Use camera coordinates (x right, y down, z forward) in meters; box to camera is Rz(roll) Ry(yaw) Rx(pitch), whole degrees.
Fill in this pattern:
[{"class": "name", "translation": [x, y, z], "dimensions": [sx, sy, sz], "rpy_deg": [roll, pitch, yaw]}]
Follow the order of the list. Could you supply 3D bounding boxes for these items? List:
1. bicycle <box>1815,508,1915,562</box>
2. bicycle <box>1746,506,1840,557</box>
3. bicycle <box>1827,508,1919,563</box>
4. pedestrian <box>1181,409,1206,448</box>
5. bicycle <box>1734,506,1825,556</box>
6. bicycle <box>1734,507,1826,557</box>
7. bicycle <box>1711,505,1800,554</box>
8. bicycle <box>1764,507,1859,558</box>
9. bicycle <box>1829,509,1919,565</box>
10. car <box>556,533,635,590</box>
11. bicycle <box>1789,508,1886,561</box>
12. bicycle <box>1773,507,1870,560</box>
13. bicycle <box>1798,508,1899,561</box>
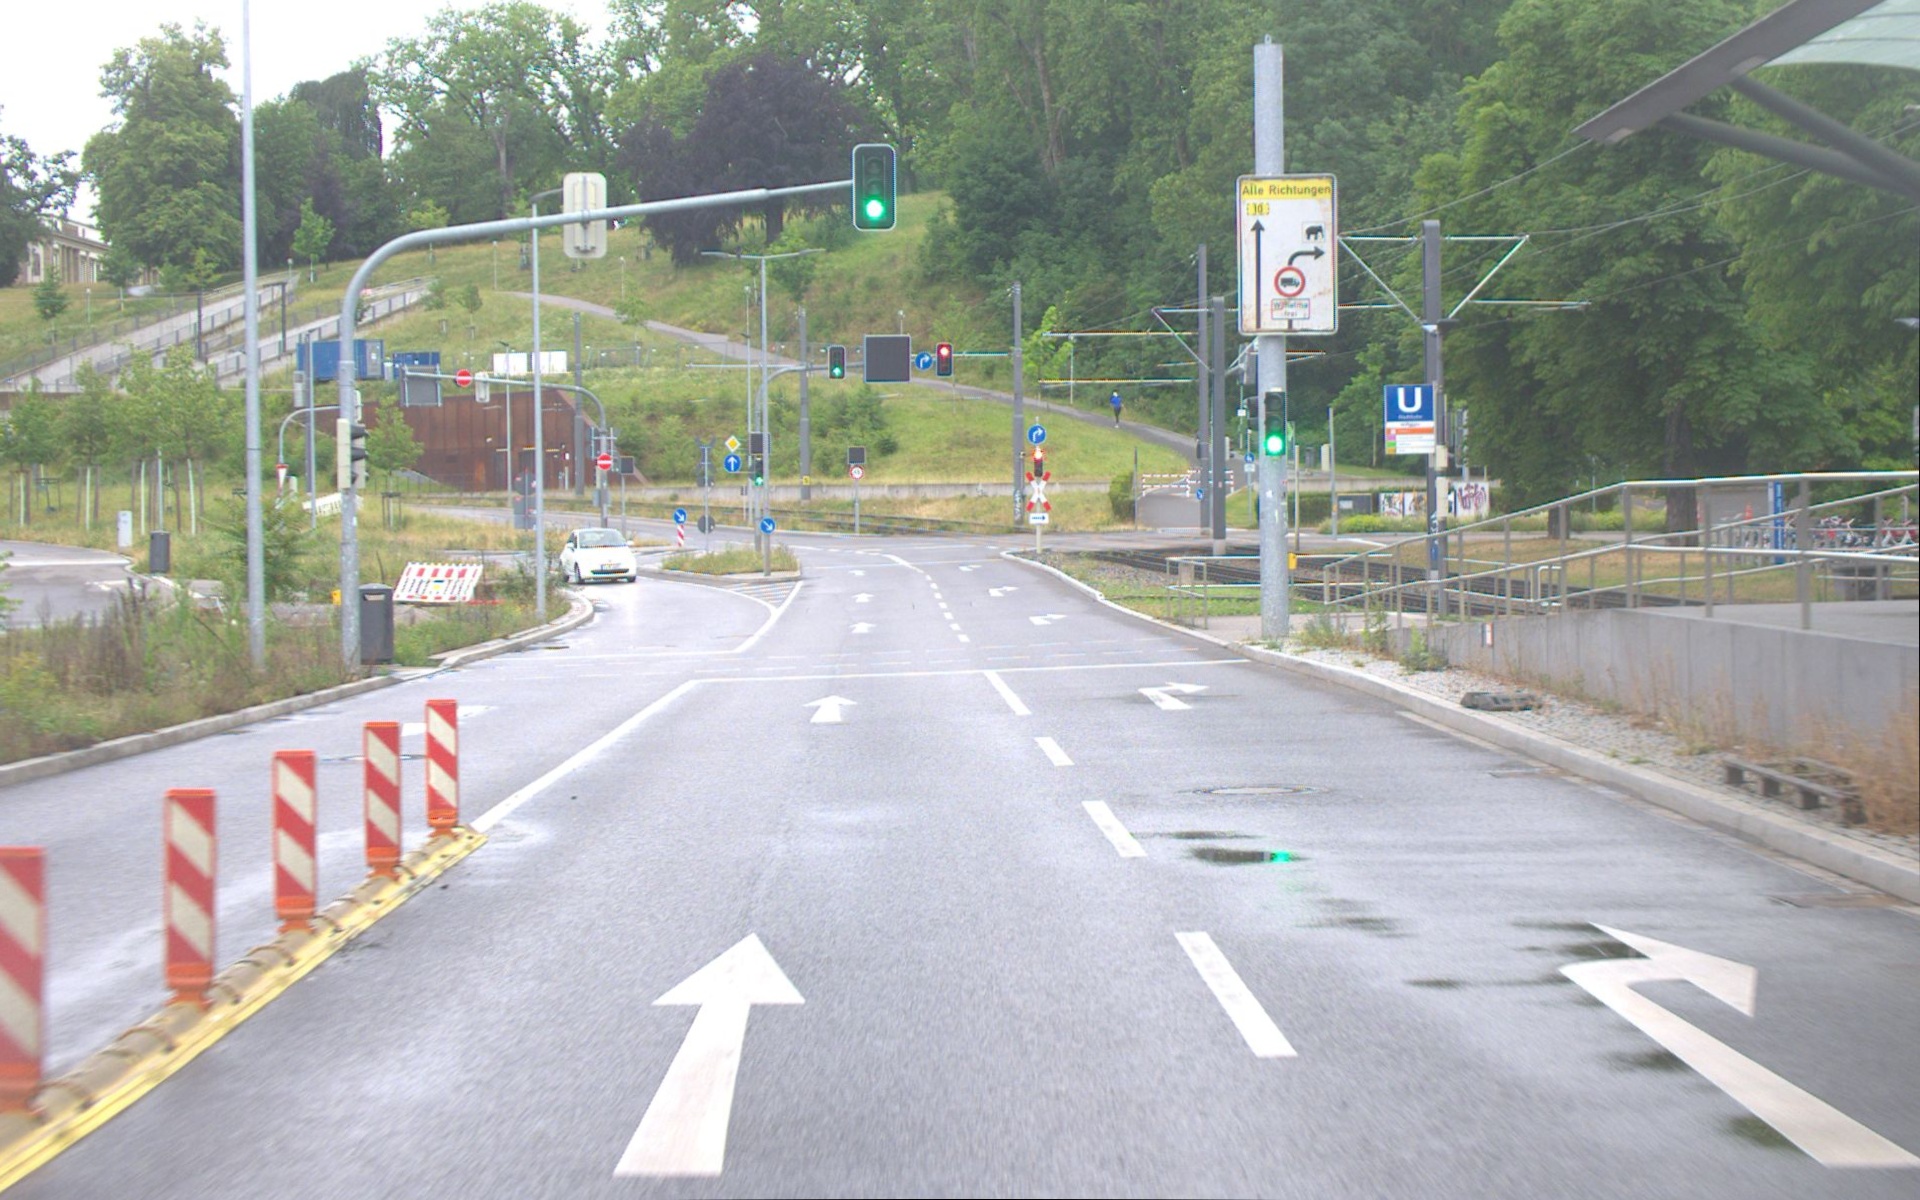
[{"class": "bicycle", "translation": [18.197, -1.306, 69.137], "dimensions": [1.810, 1.028, 0.653], "rpy_deg": [-2, 2, -3]}, {"class": "bicycle", "translation": [17.859, -1.462, 73.733], "dimensions": [1.834, 1.028, 0.653], "rpy_deg": [-2, 2, -3]}, {"class": "bicycle", "translation": [18.223, -1.278, 68.251], "dimensions": [1.810, 1.028, 0.653], "rpy_deg": [-2, 2, -3]}, {"class": "pedestrian", "translation": [10.965, -8.040, 161.218], "dimensions": [0.957, 1.775, 1.123], "rpy_deg": [1, 3, -6]}, {"class": "bicycle", "translation": [17.934, -1.515, 75.267], "dimensions": [1.810, 1.028, 0.653], "rpy_deg": [-2, 2, -3]}, {"class": "bicycle", "translation": [17.738, -1.475, 74.384], "dimensions": [1.810, 1.028, 0.653], "rpy_deg": [-2, 2, -3]}, {"class": "bicycle", "translation": [17.836, -1.583, 77.069], "dimensions": [1.810, 1.028, 0.653], "rpy_deg": [-2, 2, -3]}, {"class": "bicycle", "translation": [18.097, -1.441, 73.074], "dimensions": [1.810, 1.028, 0.653], "rpy_deg": [-2, 2, -3]}, {"class": "bicycle", "translation": [18.239, -1.250, 67.366], "dimensions": [2.222, 1.028, 0.689], "rpy_deg": [-2, 2, -3]}, {"class": "car", "translation": [-10.071, -1.058, 94.827], "dimensions": [1.586, 1.486, 3.715], "rpy_deg": [-3, 1, -14]}, {"class": "bicycle", "translation": [18.072, -1.356, 70.826], "dimensions": [1.810, 1.028, 0.653], "rpy_deg": [-2, 2, -3]}, {"class": "bicycle", "translation": [17.922, -1.385, 71.525], "dimensions": [1.810, 1.031, 0.653], "rpy_deg": [-2, 2, -3]}, {"class": "bicycle", "translation": [18.081, -1.333, 69.982], "dimensions": [1.846, 1.028, 0.653], "rpy_deg": [-2, 2, -3]}]
